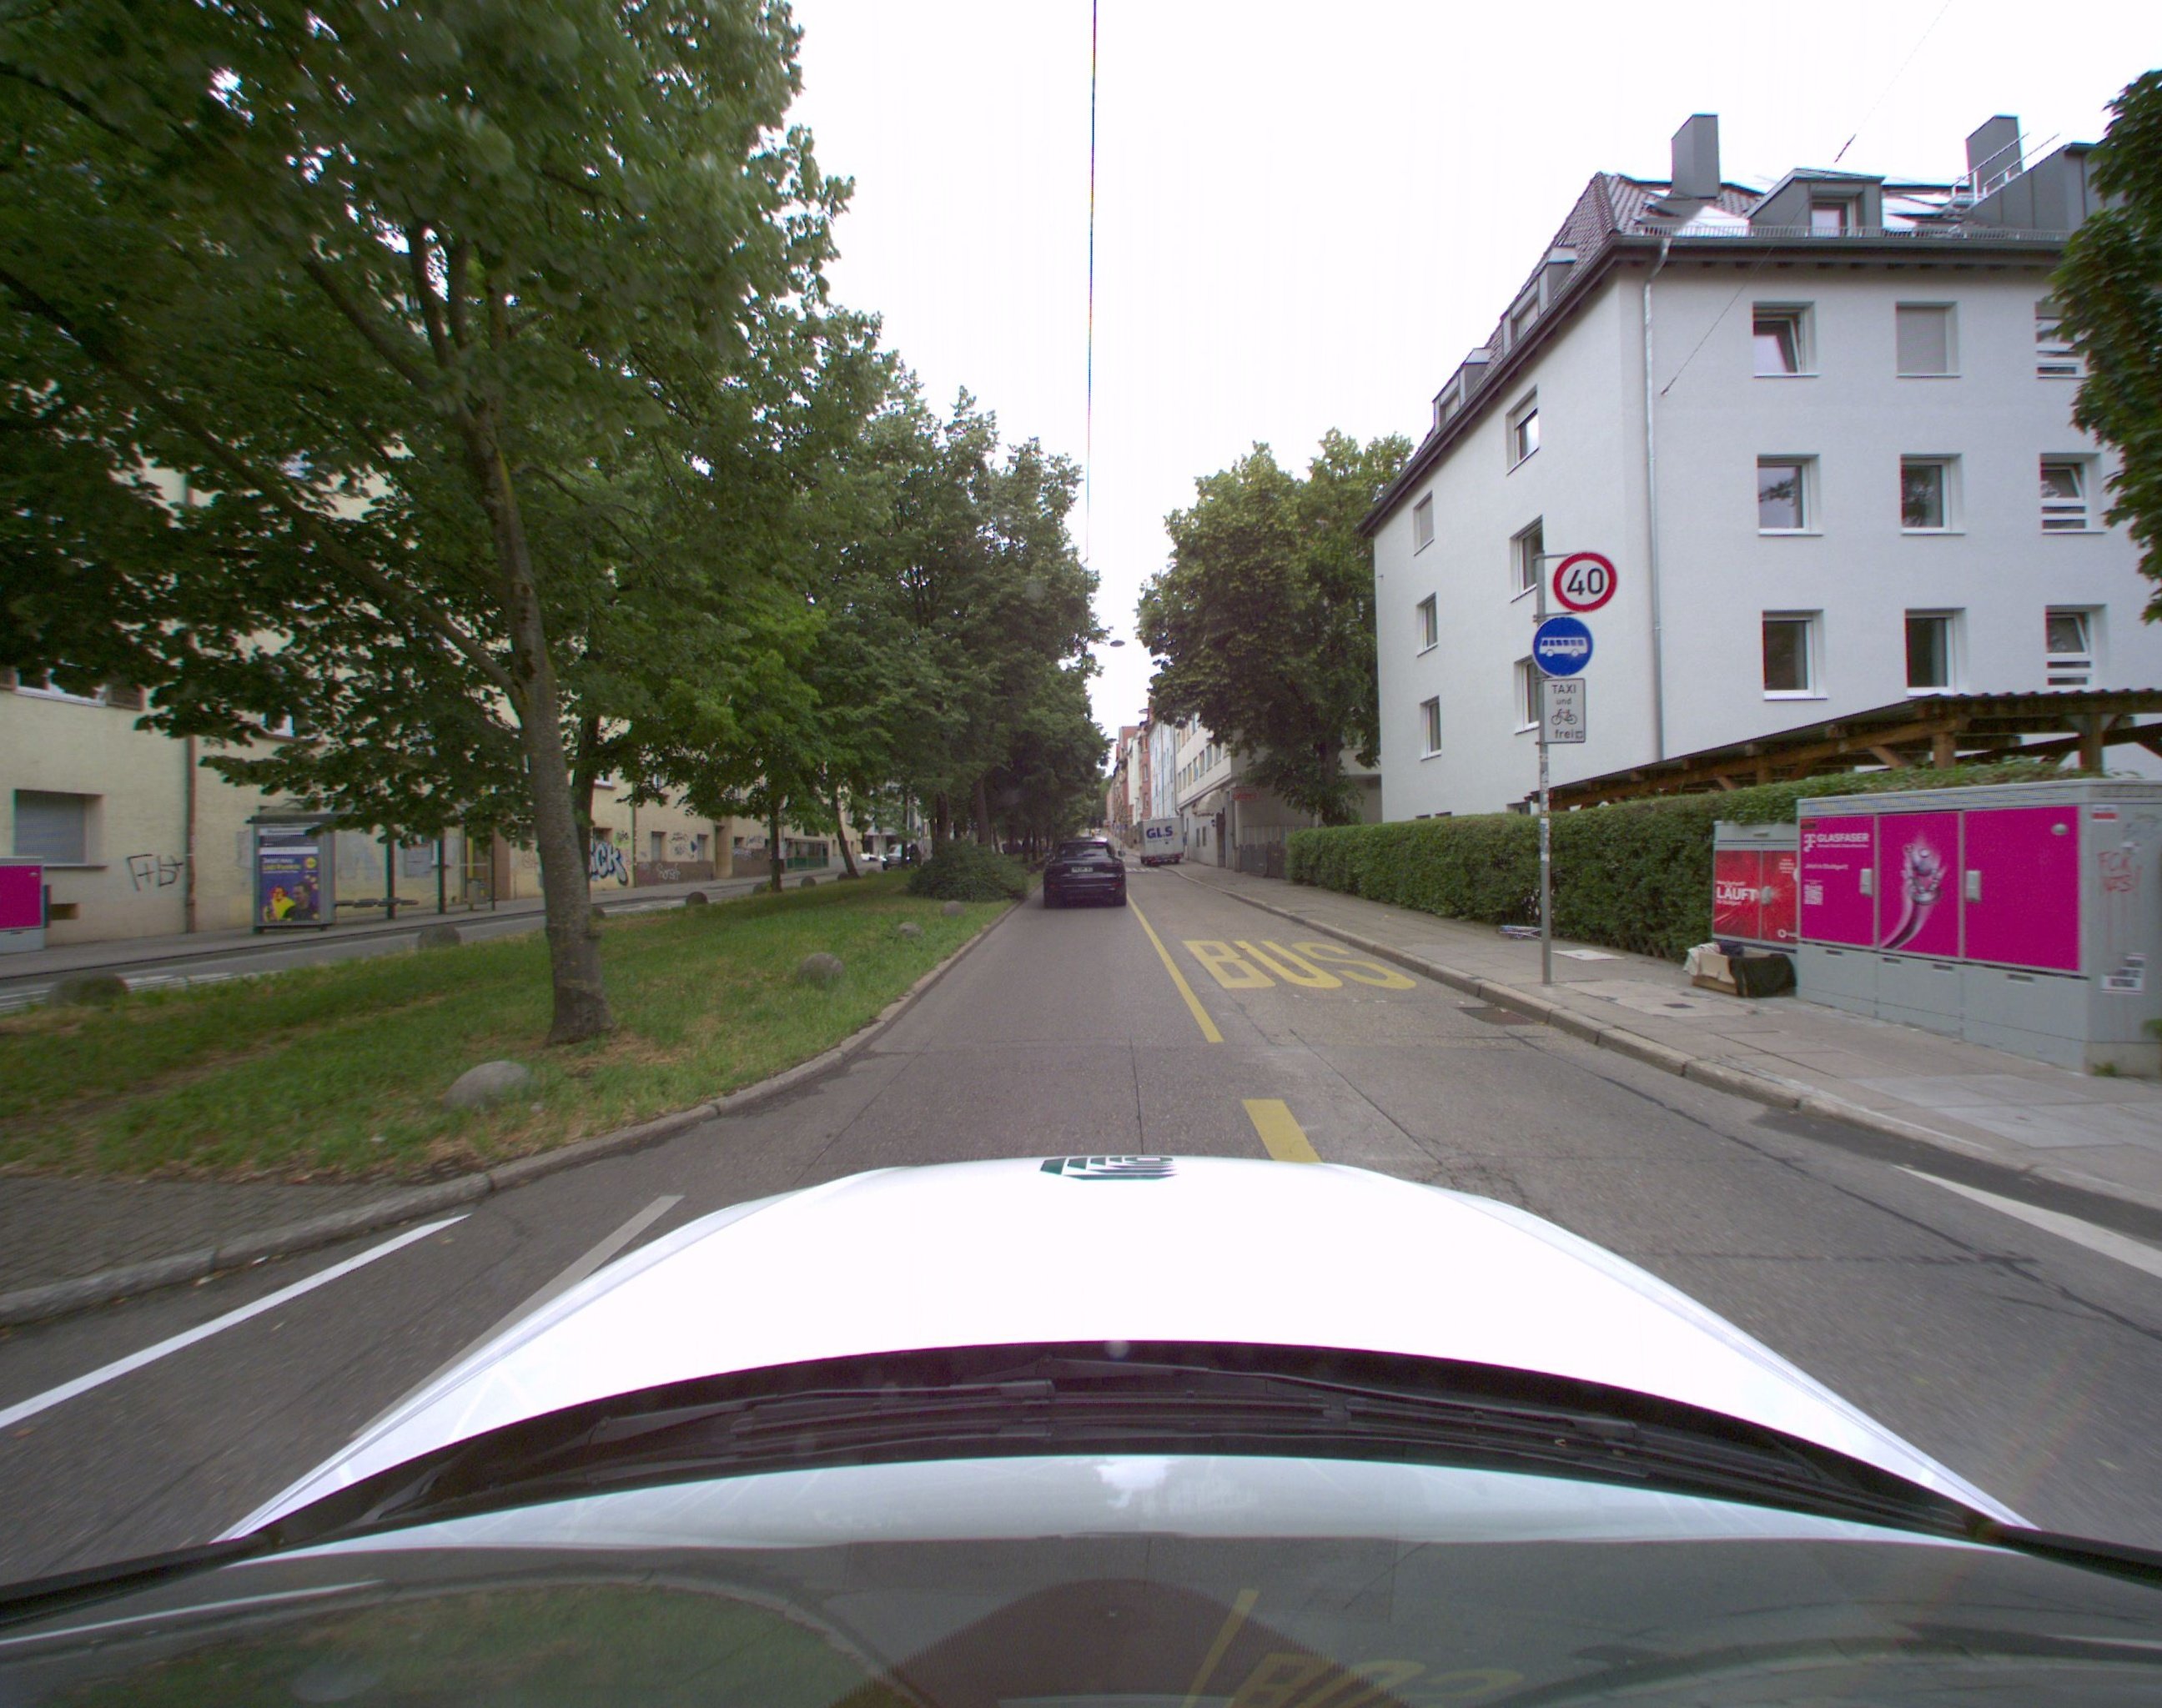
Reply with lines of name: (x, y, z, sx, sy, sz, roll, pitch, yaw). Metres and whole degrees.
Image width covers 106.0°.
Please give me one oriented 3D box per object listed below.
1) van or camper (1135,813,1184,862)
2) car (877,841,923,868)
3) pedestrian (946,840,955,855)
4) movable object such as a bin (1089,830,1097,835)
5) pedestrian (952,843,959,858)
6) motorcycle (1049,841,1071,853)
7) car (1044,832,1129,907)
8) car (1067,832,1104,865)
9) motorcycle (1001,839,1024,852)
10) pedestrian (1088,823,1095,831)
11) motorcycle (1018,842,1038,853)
van or camper: (4.776, -1.008, 50.684, 2.471, 2.802, 7.240, -1, 1, 1)
car: (-11.671, -0.023, 52.745, 1.942, 1.628, 4.364, -2, 1, 0)
pedestrian: (-14.241, -0.705, 88.816, 0.629, 1.613, 0.768, 0, 1, 21)
movable object such as a bin: (2.941, -5.423, 203.064, 1.242, 1.274, 1.833, -2, 1, -22)
pedestrian: (-13.986, -0.402, 90.531, 0.660, 1.616, 0.580, -1, 1, 2)
motorcycle: (-2.313, -0.821, 90.634, 2.348, 1.235, 1.033, -1, 1, -1)
car: (0.093, 0.320, 20.668, 1.898, 1.665, 4.134, -1, 1, -1)
car: (0.300, -0.326, 46.561, 1.986, 1.753, 4.001, -1, 1, 1)
motorcycle: (-7.373, -0.912, 87.972, 2.375, 1.317, 1.045, -1, 1, -1)
pedestrian: (2.607, -6.691, 204.244, 1.305, 2.013, 1.013, -1, 1, -20)
motorcycle: (-5.961, -0.714, 91.359, 2.019, 1.235, 0.898, -1, 1, 5)
